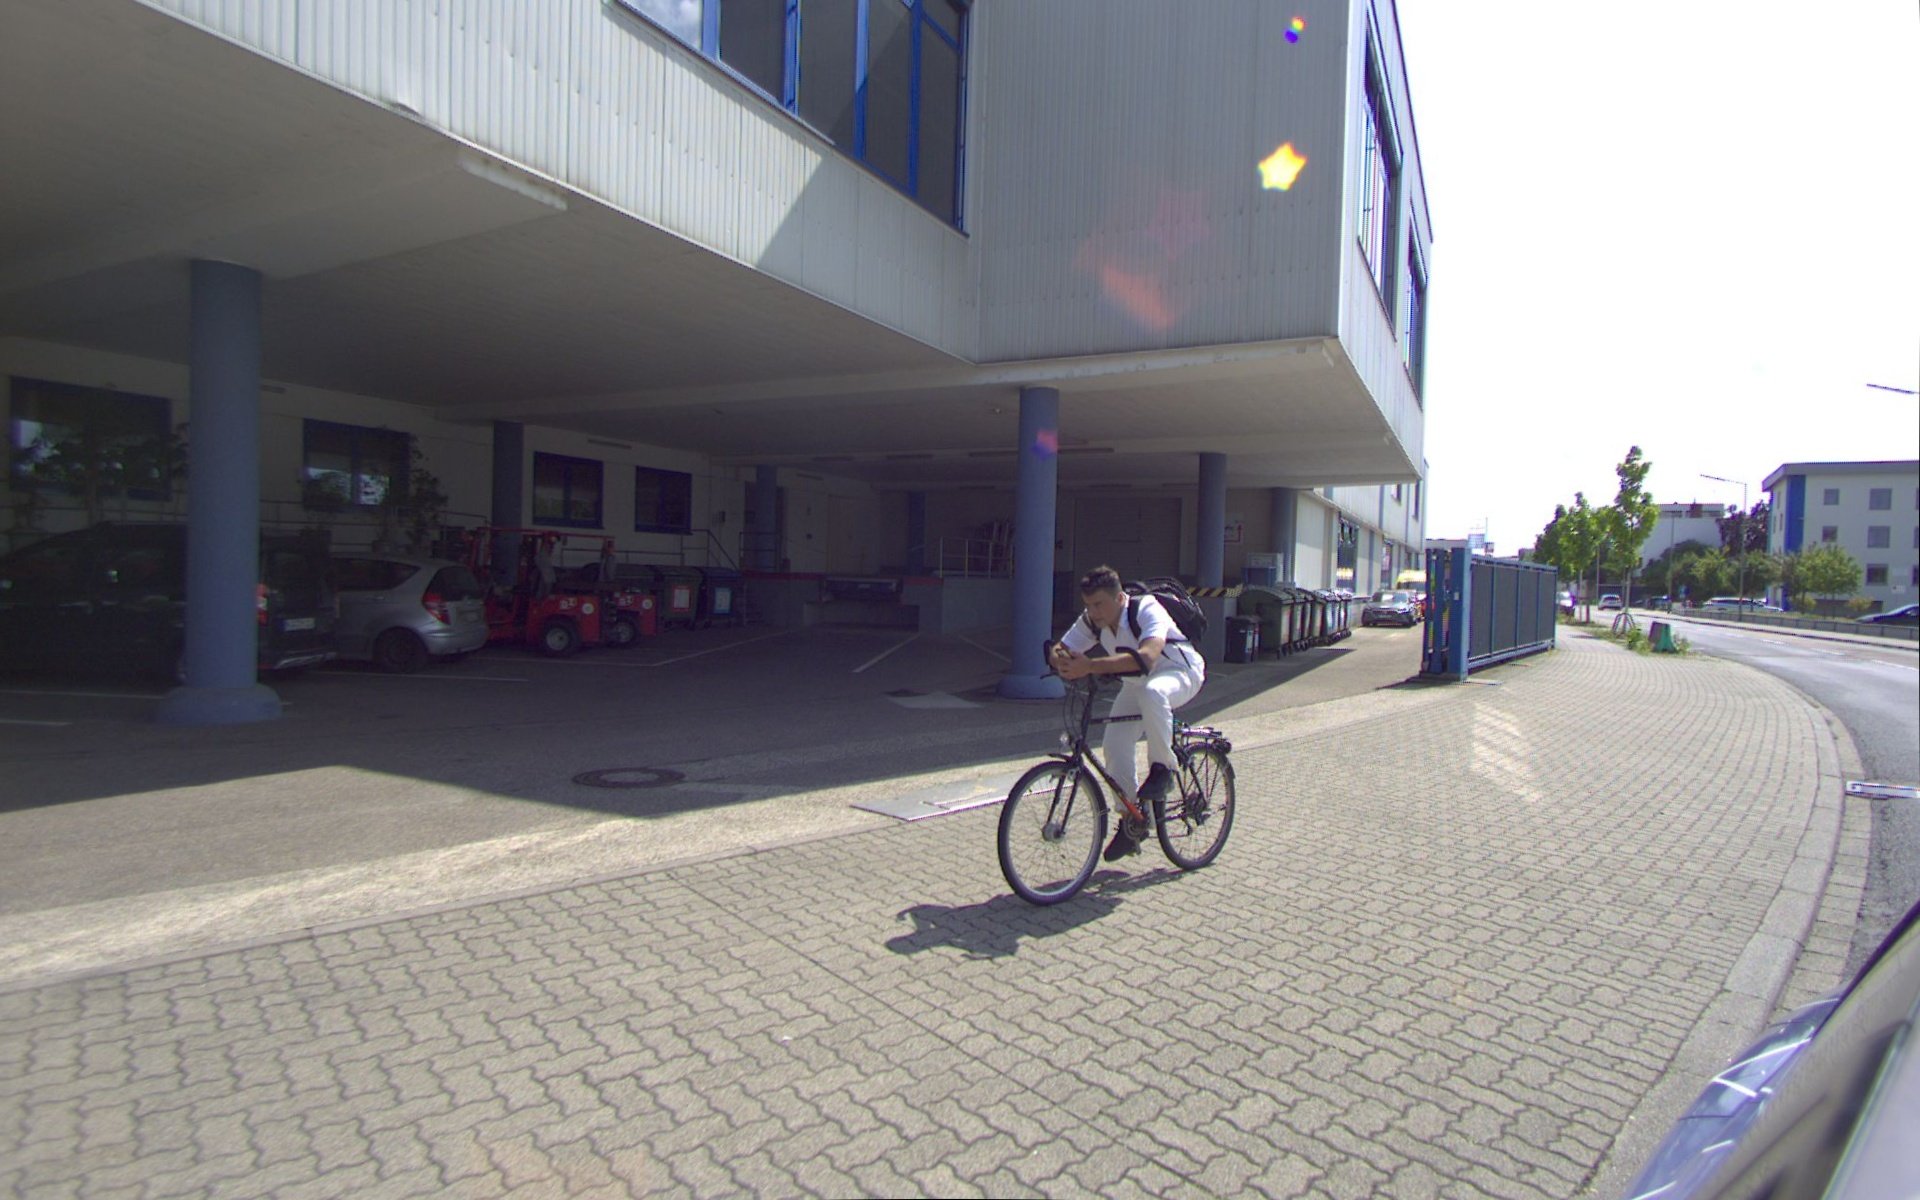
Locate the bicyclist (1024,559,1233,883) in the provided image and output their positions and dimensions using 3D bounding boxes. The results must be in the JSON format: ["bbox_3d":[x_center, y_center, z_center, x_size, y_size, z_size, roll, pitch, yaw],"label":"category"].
[{"bbox_3d":[0.841,0.522,4.981,0.662,1.415,0.846,2,1,39],"label":"bicyclist"}]

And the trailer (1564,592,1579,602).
[{"bbox_3d":[95.586,-0.479,158.217,1.755,1.457,4.295,-1,0,27],"label":"trailer"}]

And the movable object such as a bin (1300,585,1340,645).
[{"bbox_3d":[8.991,0.361,25.268,0.798,1.431,1.415,1,1,25],"label":"movable object such as a bin"}]

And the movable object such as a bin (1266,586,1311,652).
[{"bbox_3d":[7.383,0.402,22.713,0.798,1.431,1.346,1,1,25],"label":"movable object such as a bin"}]

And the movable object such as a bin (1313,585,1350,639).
[{"bbox_3d":[10.156,0.313,27.679,0.799,1.431,1.345,1,1,27],"label":"movable object such as a bin"}]

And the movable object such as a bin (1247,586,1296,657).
[{"bbox_3d":[6.622,0.425,21.492,0.798,1.431,1.346,1,1,25],"label":"movable object such as a bin"}]

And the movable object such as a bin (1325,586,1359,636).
[{"bbox_3d":[11.428,0.302,30.245,0.799,1.431,1.345,1,1,27],"label":"movable object such as a bin"}]

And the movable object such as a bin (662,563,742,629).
[{"bbox_3d":[-6.132,-0.102,24.106,1.325,1.487,1.281,2,1,25],"label":"movable object such as a bin"}]

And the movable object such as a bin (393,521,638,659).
[{"bbox_3d":[-7.196,-0.157,16.613,3.367,2.111,1.436,1,0,-4],"label":"movable object such as a bin"}]

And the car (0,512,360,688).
[{"bbox_3d":[-9.362,-0.014,11.482,4.023,1.803,1.761,1,0,-4],"label":"car"}]

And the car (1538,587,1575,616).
[{"bbox_3d":[36.873,0.055,62.621,1.745,1.671,4.631,1,2,28],"label":"car"}]

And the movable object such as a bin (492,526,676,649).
[{"bbox_3d":[-6.753,-0.215,18.370,2.858,2.111,1.319,1,0,-4],"label":"movable object such as a bin"}]

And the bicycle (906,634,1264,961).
[{"bbox_3d":[0.707,0.776,4.842,0.665,1.122,2.137,2,2,38],"label":"bicycle"}]

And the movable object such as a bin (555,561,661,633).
[{"bbox_3d":[-7.433,-0.075,21.434,1.454,1.422,1.560,2,1,25],"label":"movable object such as a bin"}]

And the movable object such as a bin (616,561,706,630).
[{"bbox_3d":[-6.727,-0.115,22.827,1.325,1.487,1.426,2,1,25],"label":"movable object such as a bin"}]

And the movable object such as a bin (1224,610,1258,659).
[{"bbox_3d":[5.669,0.689,20.412,0.584,0.955,0.540,1,1,26],"label":"movable object such as a bin"}]

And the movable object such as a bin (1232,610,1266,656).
[{"bbox_3d":[5.947,0.669,20.821,0.594,0.921,0.414,1,1,26],"label":"movable object such as a bin"}]

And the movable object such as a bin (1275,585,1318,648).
[{"bbox_3d":[7.980,0.373,23.981,0.798,1.431,1.393,1,1,25],"label":"movable object such as a bin"}]

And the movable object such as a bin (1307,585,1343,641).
[{"bbox_3d":[9.571,0.324,26.520,0.798,1.431,1.164,1,1,25],"label":"movable object such as a bin"}]

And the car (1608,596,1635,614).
[{"bbox_3d":[71.308,0.528,109.122,1.855,1.729,4.709,1,1,27],"label":"car"}]

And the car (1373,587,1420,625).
[{"bbox_3d":[17.553,0.196,40.628,1.487,1.421,3.818,1,2,27],"label":"car"}]

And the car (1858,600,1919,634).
[{"bbox_3d":[41.790,0.775,43.816,3.963,1.393,1.786,2,1,28],"label":"car"}]

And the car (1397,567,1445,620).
[{"bbox_3d":[22.824,-0.362,50.029,1.912,2.494,5.210,1,1,27],"label":"car"}]

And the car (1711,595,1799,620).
[{"bbox_3d":[57.726,0.513,73.570,4.727,1.622,1.980,1,1,29],"label":"car"}]

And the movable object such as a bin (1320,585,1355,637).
[{"bbox_3d":[10.801,0.295,28.937,0.799,1.431,1.345,1,1,27],"label":"movable object such as a bin"}]

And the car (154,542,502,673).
[{"bbox_3d":[-8.539,0.099,13.959,3.590,1.565,1.844,2,0,-4],"label":"car"}]
